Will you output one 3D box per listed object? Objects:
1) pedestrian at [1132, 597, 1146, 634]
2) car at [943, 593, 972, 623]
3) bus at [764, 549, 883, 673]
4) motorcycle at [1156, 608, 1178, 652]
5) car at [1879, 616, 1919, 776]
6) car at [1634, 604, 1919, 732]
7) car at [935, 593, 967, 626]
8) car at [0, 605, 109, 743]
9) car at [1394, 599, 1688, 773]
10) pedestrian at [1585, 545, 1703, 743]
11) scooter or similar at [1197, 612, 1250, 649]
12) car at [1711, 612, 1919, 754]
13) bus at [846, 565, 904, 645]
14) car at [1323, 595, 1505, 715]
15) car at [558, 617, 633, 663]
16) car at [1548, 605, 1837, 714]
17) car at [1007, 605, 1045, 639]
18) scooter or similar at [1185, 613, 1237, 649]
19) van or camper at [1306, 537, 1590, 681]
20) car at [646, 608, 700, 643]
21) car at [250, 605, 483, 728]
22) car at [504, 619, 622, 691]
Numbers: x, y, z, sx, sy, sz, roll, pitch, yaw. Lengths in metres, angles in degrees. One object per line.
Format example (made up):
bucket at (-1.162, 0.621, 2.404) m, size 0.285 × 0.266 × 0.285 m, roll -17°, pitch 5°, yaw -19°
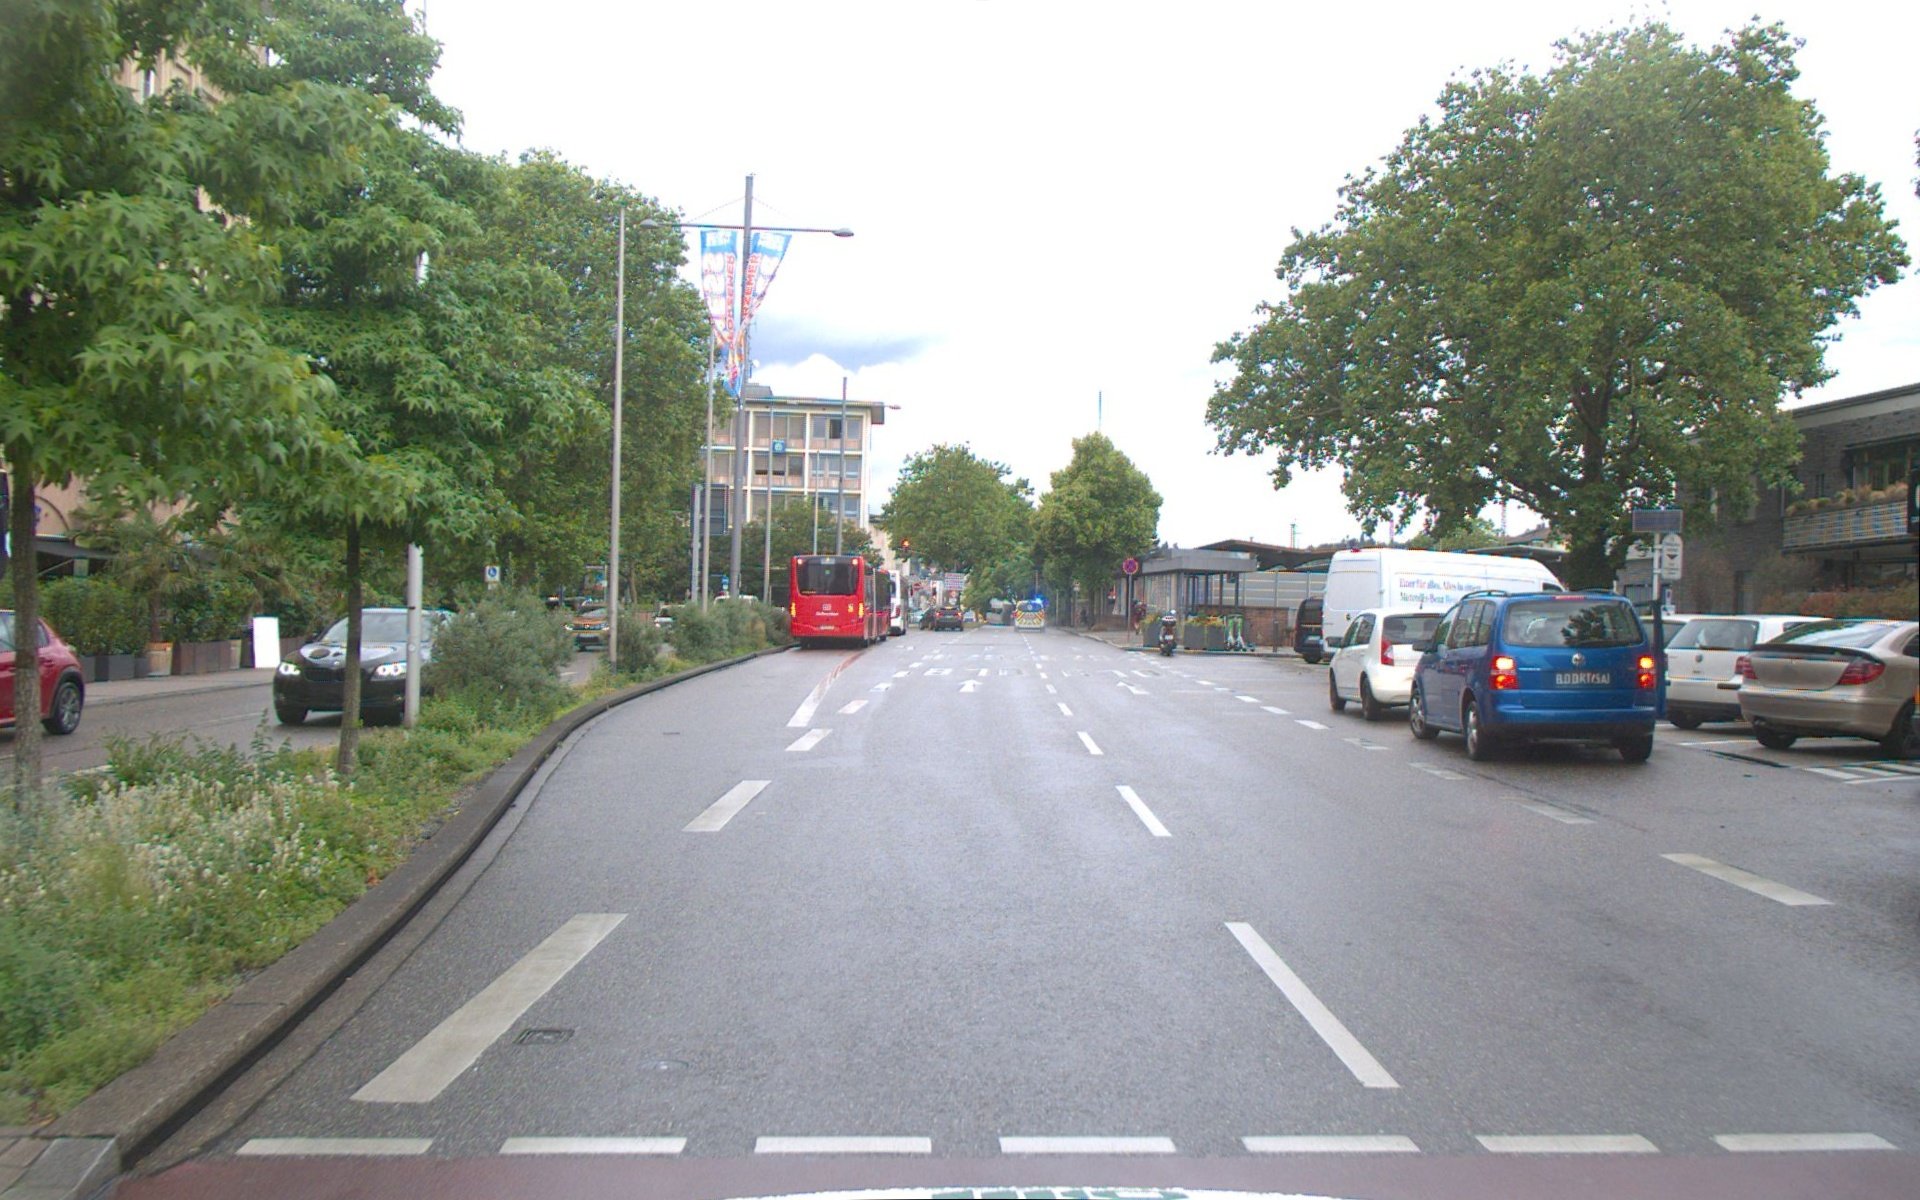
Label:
pedestrian at (8.848, 0.771, 81.959) m, size 0.609 × 1.848 × 0.598 m, roll 0°, pitch 0°, yaw -1°
car at (-0.201, 0.584, 120.274) m, size 1.953 × 2.049 × 3.999 m, roll -1°, pitch 0°, yaw -1°
bus at (-4.827, 0.383, 60.828) m, size 3.472 × 4.049 × 11.169 m, roll -1°, pitch 0°, yaw -1°
motorcycle at (6.444, 0.915, 51.520) m, size 0.582 × 1.310 × 1.954 m, roll -1°, pitch 0°, yaw 4°
car at (10.221, 0.815, 14.259) m, size 4.125 × 1.348 × 1.828 m, roll 0°, pitch -1°, yaw -21°
car at (10.575, 0.797, 20.768) m, size 3.941 × 1.468 × 1.848 m, roll 0°, pitch -1°, yaw -28°
car at (-0.595, 0.589, 104.745) m, size 1.953 × 2.049 × 3.999 m, roll -1°, pitch 0°, yaw -1°
car at (-10.952, 0.797, 17.653) m, size 1.712 × 1.455 × 3.952 m, roll -1°, pitch 0°, yaw -1°
car at (5.883, 0.816, 17.273) m, size 1.820 × 1.596 × 4.001 m, roll 0°, pitch -1°, yaw 3°
pedestrian at (7.322, 0.458, 17.748) m, size 0.815 × 2.049 × 0.888 m, roll -1°, pitch 0°, yaw -6°
scooter or similar at (8.585, 0.989, 53.920) m, size 2.131 × 1.129 × 0.437 m, roll -1°, pitch 0°, yaw -41°
car at (10.170, 0.826, 17.924) m, size 3.948 × 1.383 × 1.844 m, roll 0°, pitch -1°, yaw -32°
bus at (-4.378, 0.247, 85.445) m, size 2.749 × 3.812 × 10.439 m, roll -1°, pitch 0°, yaw -3°
car at (6.273, 0.736, 23.240) m, size 1.750 × 1.549 × 3.683 m, roll 0°, pitch -1°, yaw 4°
car at (-12.318, 1.334, 56.147) m, size 1.712 × 1.455 × 3.952 m, roll -1°, pitch 0°, yaw -1°
car at (10.689, 0.823, 24.121) m, size 3.941 × 1.468 × 1.848 m, roll 0°, pitch -1°, yaw -28°
car at (4.069, 1.331, 102.844) m, size 1.953 × 2.049 × 5.060 m, roll -1°, pitch 0°, yaw -2°
scooter or similar at (8.242, 1.000, 54.278) m, size 2.131 × 1.129 × 0.421 m, roll -1°, pitch 0°, yaw -41°
van or camper at (10.287, 0.142, 34.730) m, size 5.880 × 2.811 × 2.178 m, roll -1°, pitch 0°, yaw -29°
car at (-12.470, 1.102, 72.027) m, size 1.712 × 1.455 × 3.952 m, roll -1°, pitch 0°, yaw -1°
car at (-7.777, 0.814, 22.076) m, size 1.712 × 1.455 × 3.952 m, roll -1°, pitch 0°, yaw -1°
car at (-8.846, 1.197, 37.156) m, size 1.712 × 1.455 × 3.952 m, roll -1°, pitch 0°, yaw -1°
